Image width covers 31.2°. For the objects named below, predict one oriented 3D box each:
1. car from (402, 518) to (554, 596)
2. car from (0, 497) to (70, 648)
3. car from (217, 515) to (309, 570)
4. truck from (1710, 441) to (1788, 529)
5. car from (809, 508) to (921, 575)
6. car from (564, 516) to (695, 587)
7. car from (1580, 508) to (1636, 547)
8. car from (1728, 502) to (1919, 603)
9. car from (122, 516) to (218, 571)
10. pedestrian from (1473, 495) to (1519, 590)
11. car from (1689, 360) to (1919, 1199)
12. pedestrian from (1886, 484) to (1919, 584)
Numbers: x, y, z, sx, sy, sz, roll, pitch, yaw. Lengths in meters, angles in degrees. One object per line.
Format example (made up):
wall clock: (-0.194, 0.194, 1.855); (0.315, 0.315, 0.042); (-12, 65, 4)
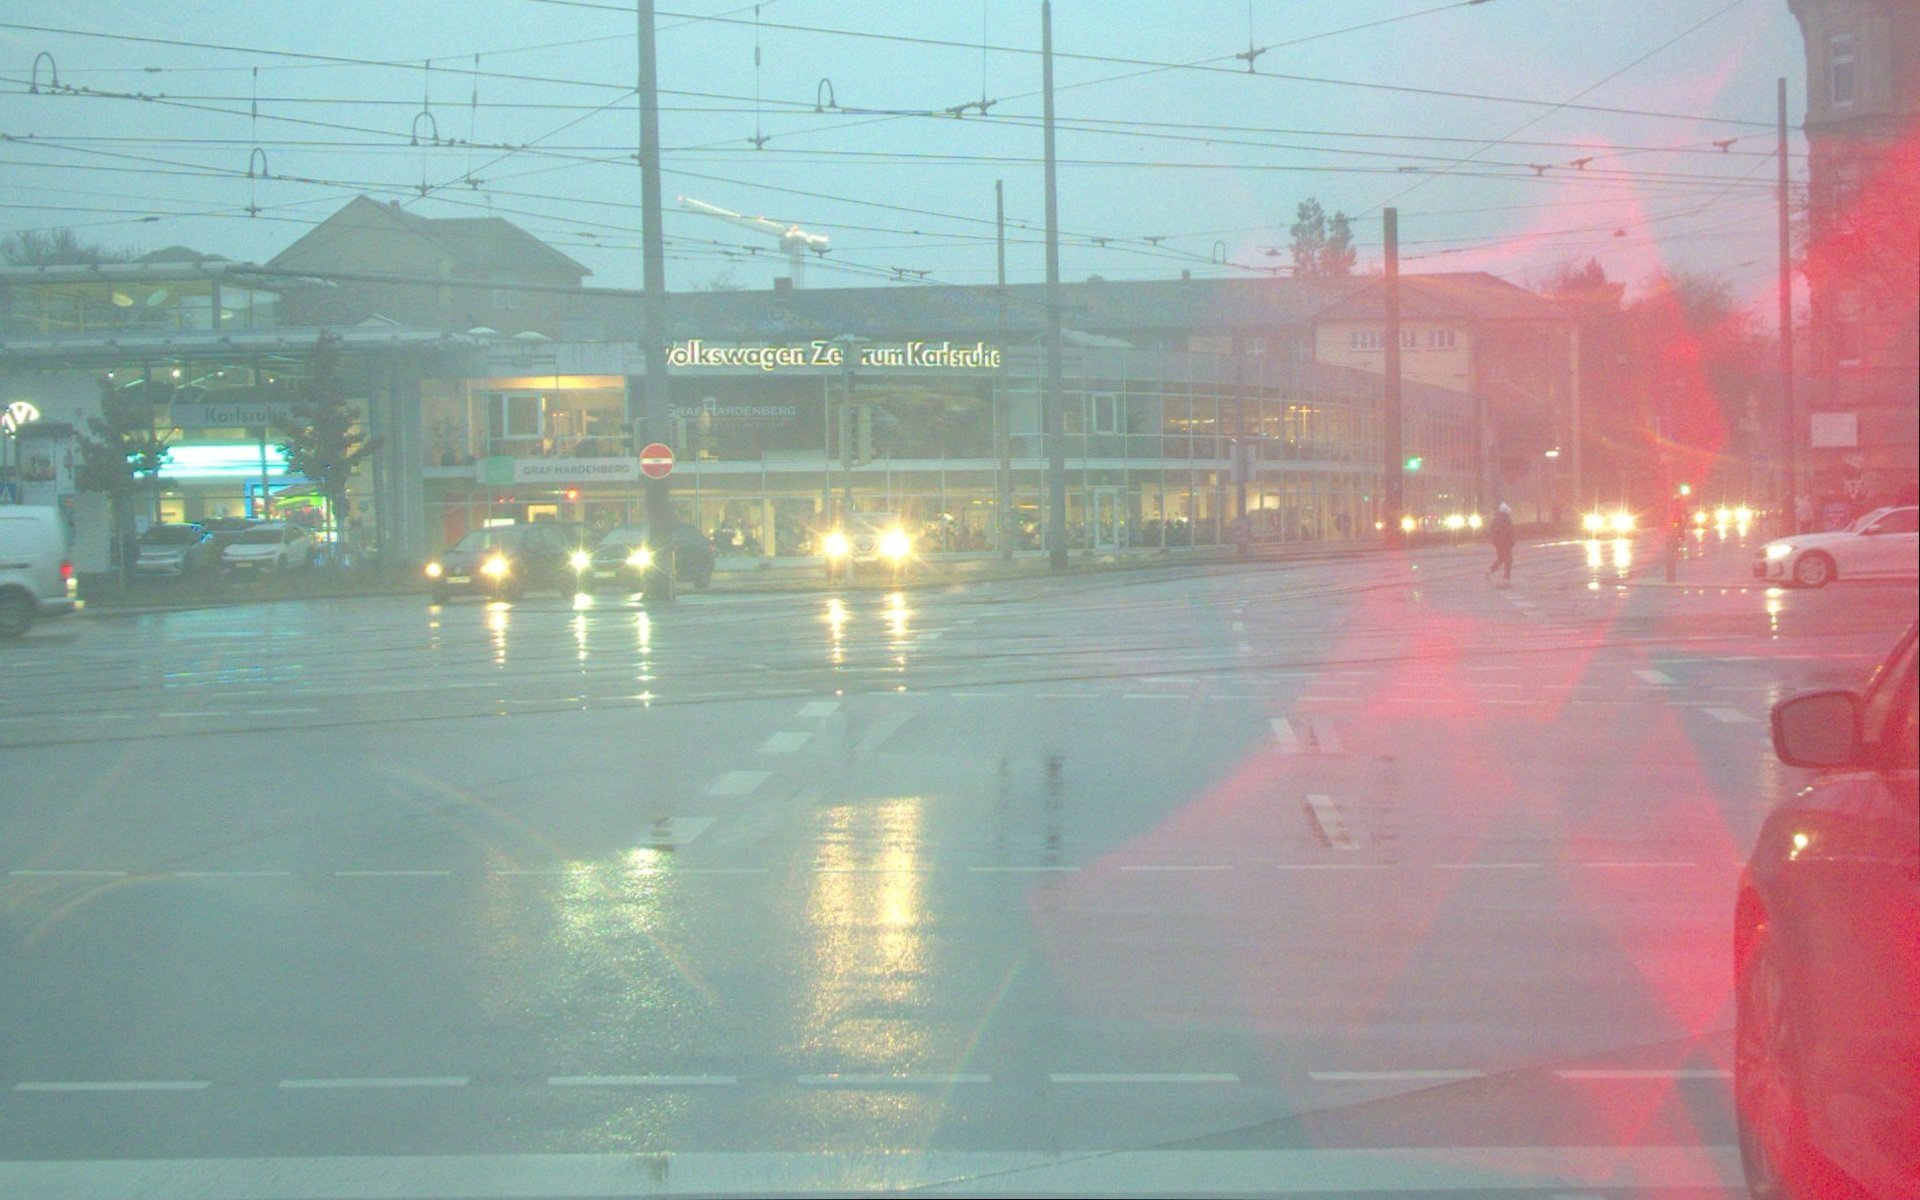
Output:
car: (-9.355, -0.864, 66.985); (1.813, 1.441, 3.999); (-1, 1, 9)
car: (-14.619, -0.393, 47.455); (4.401, 2.007, 1.912); (1, -2, -17)
car: (-21.164, -1.754, 104.533); (1.862, 1.596, 4.000); (-1, 1, 2)
truck: (25.333, -3.668, 110.245); (1.995, 2.682, 5.111); (-1, 1, 17)
car: (-2.145, -1.347, 78.399); (1.813, 1.441, 3.999); (-1, 1, 9)
car: (-7.039, -1.050, 73.642); (1.813, 1.441, 3.999); (-1, 1, 9)
car: (27.698, -3.111, 146.940); (1.864, 1.596, 3.783); (-1, 1, 18)
car: (15.673, -0.834, 58.568); (4.798, 1.651, 1.740); (-1, 1, 2)
car: (-24.050, -1.739, 104.779); (1.862, 1.596, 4.000); (-1, 1, 2)
pedestrian: (10.508, -1.125, 67.419); (0.591, 1.834, 0.619); (-2, 1, -34)
car: (2.518, 0.491, 5.751); (1.778, 1.794, 4.425); (0, 2, 2)
pedestrian: (19.364, -1.339, 69.814); (0.728, 2.007, 0.789); (-2, 1, -29)
